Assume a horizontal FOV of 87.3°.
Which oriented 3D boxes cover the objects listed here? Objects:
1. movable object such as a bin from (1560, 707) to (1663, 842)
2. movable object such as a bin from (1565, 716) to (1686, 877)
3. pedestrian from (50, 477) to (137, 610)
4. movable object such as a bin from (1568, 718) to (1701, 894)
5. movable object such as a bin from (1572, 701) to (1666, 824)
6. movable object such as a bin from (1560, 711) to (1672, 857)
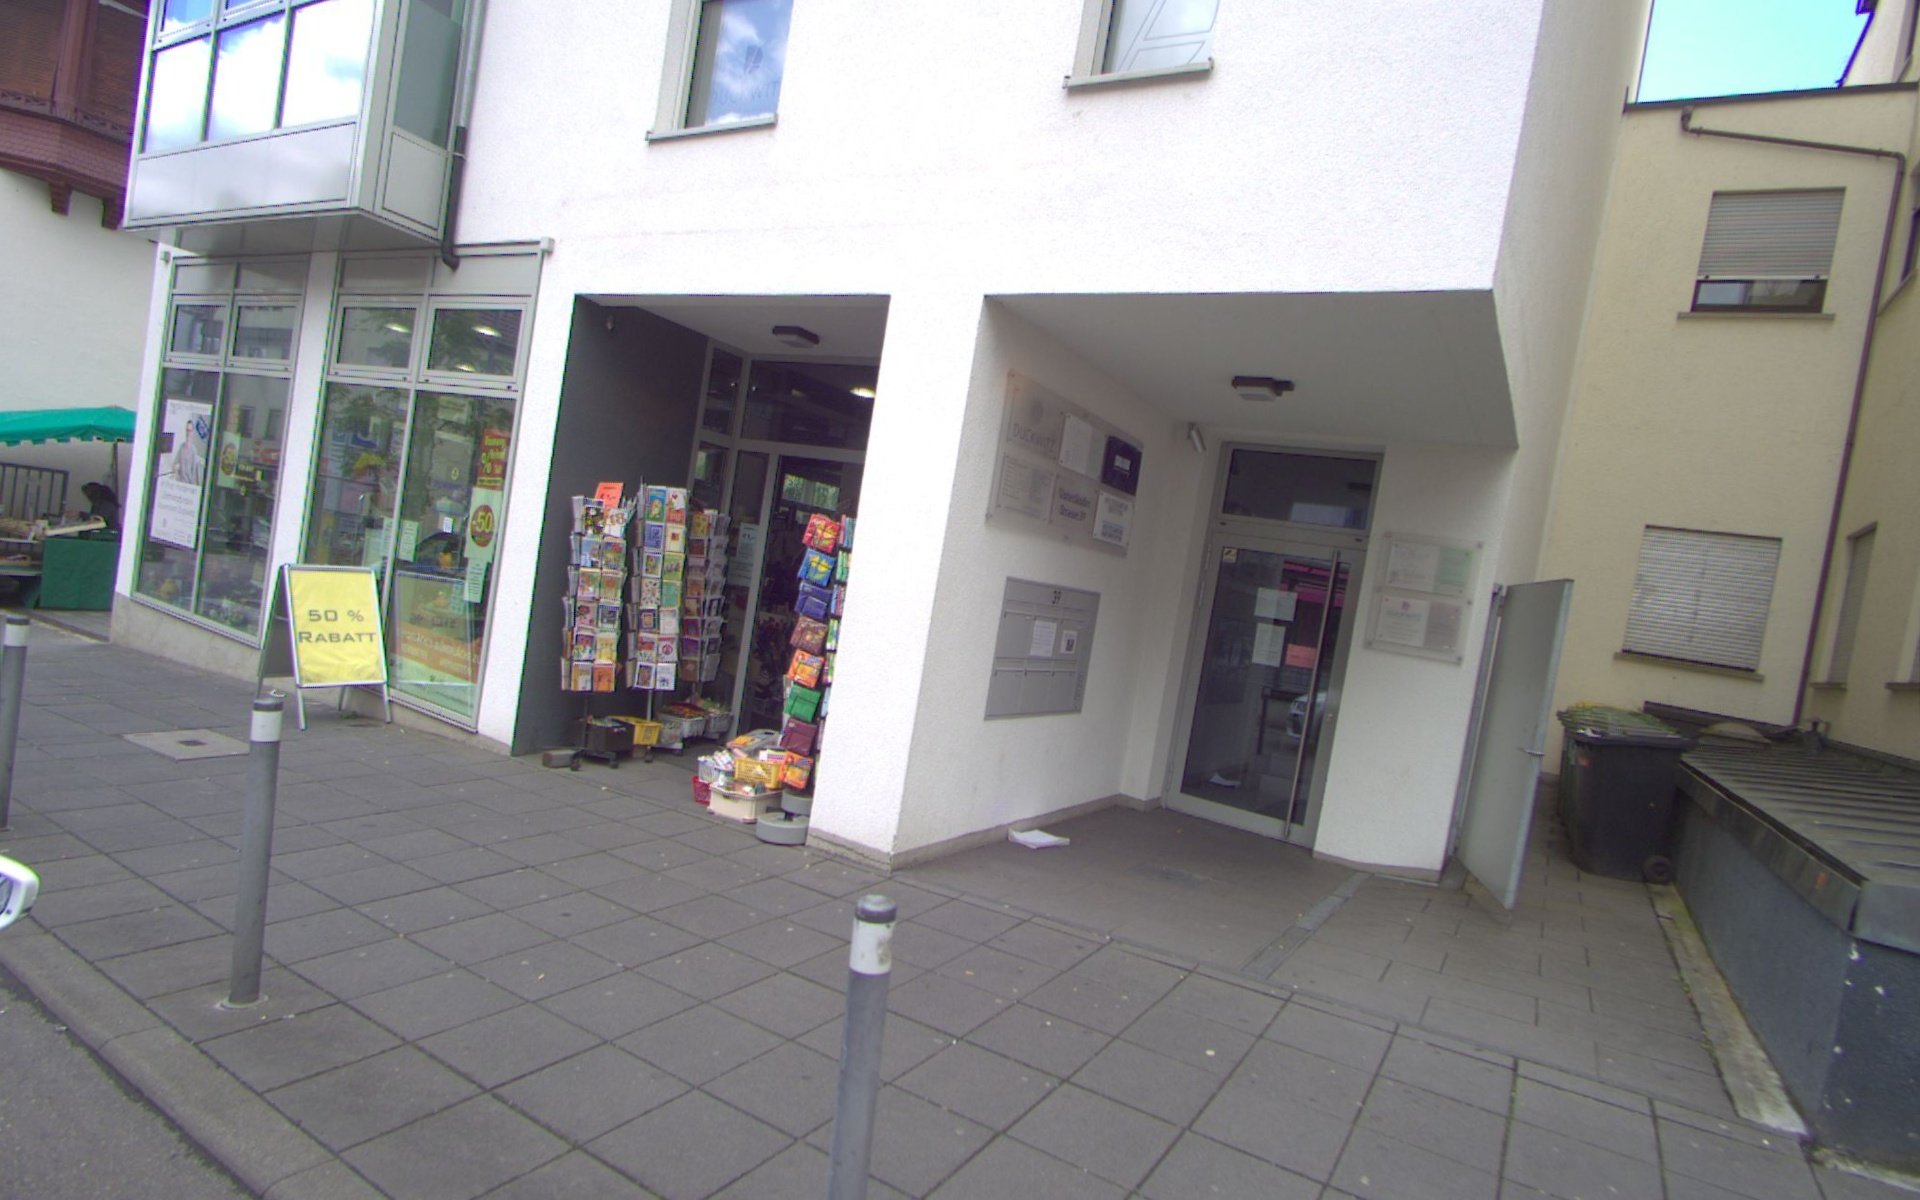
[{"bbox_3d":[5.984,1.579,9.285,0.643,1.072,0.746,7,1,30],"label":"movable object such as a bin"},{"bbox_3d":[5.240,1.520,7.968,0.643,1.072,0.746,7,1,30],"label":"movable object such as a bin"},{"bbox_3d":[-11.357,-0.732,13.187,0.692,1.633,0.623,7,1,36],"label":"pedestrian"},{"bbox_3d":[4.874,1.459,7.317,0.643,1.072,0.722,7,1,30],"label":"movable object such as a bin"},{"bbox_3d":[6.628,1.612,10.155,0.643,1.072,0.746,7,1,30],"label":"movable object such as a bin"},{"bbox_3d":[5.602,1.545,8.633,0.643,1.072,0.746,7,1,30],"label":"movable object such as a bin"}]
